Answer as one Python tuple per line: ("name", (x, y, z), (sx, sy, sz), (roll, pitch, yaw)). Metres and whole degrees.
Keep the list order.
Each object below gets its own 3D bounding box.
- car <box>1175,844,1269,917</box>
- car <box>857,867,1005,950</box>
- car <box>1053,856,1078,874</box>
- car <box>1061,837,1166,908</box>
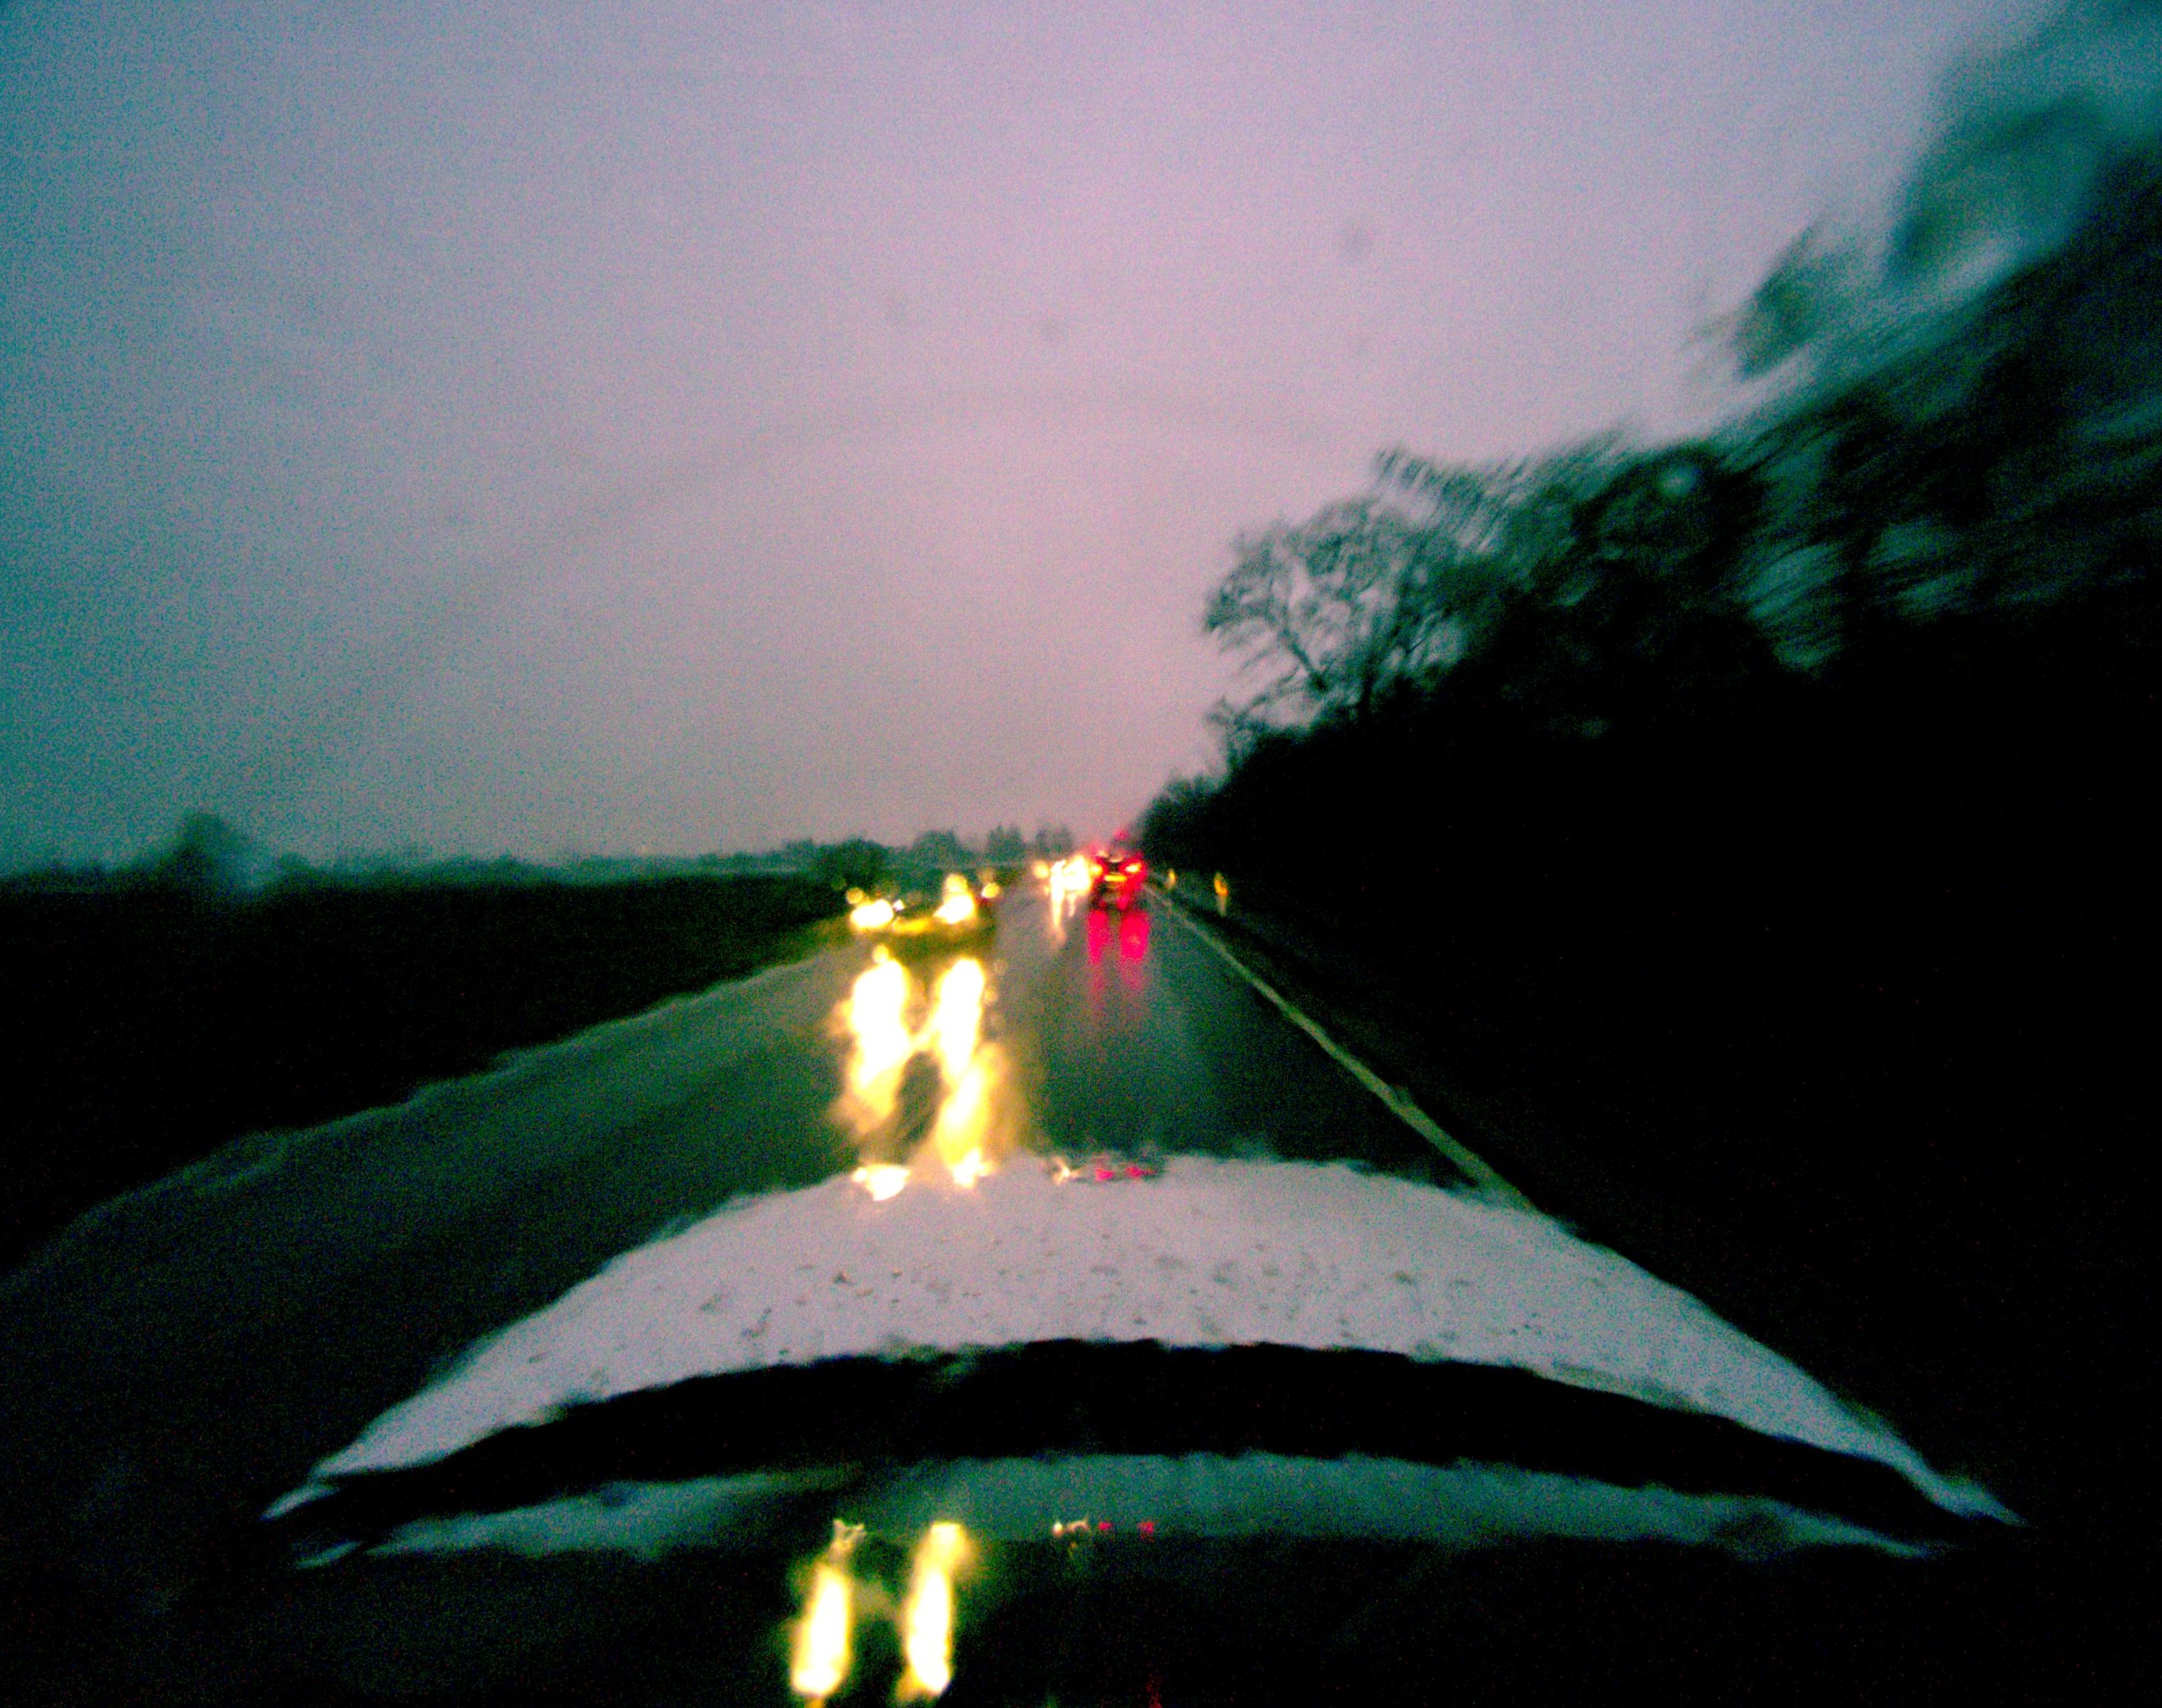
("car", (3.662, 0.657, 21.853), (1.921, 1.750, 4.001), (-1, -1, 2))
("car", (-2.785, 0.974, 16.218), (1.986, 1.372, 4.399), (-1, -1, 2))
("car", (-1.409, 1.058, 76.299), (1.986, 1.463, 4.353), (-5, -1, 2))
("car", (1.113, 0.561, 28.335), (3.152, 2.035, 6.855), (-2, 0, 2))
